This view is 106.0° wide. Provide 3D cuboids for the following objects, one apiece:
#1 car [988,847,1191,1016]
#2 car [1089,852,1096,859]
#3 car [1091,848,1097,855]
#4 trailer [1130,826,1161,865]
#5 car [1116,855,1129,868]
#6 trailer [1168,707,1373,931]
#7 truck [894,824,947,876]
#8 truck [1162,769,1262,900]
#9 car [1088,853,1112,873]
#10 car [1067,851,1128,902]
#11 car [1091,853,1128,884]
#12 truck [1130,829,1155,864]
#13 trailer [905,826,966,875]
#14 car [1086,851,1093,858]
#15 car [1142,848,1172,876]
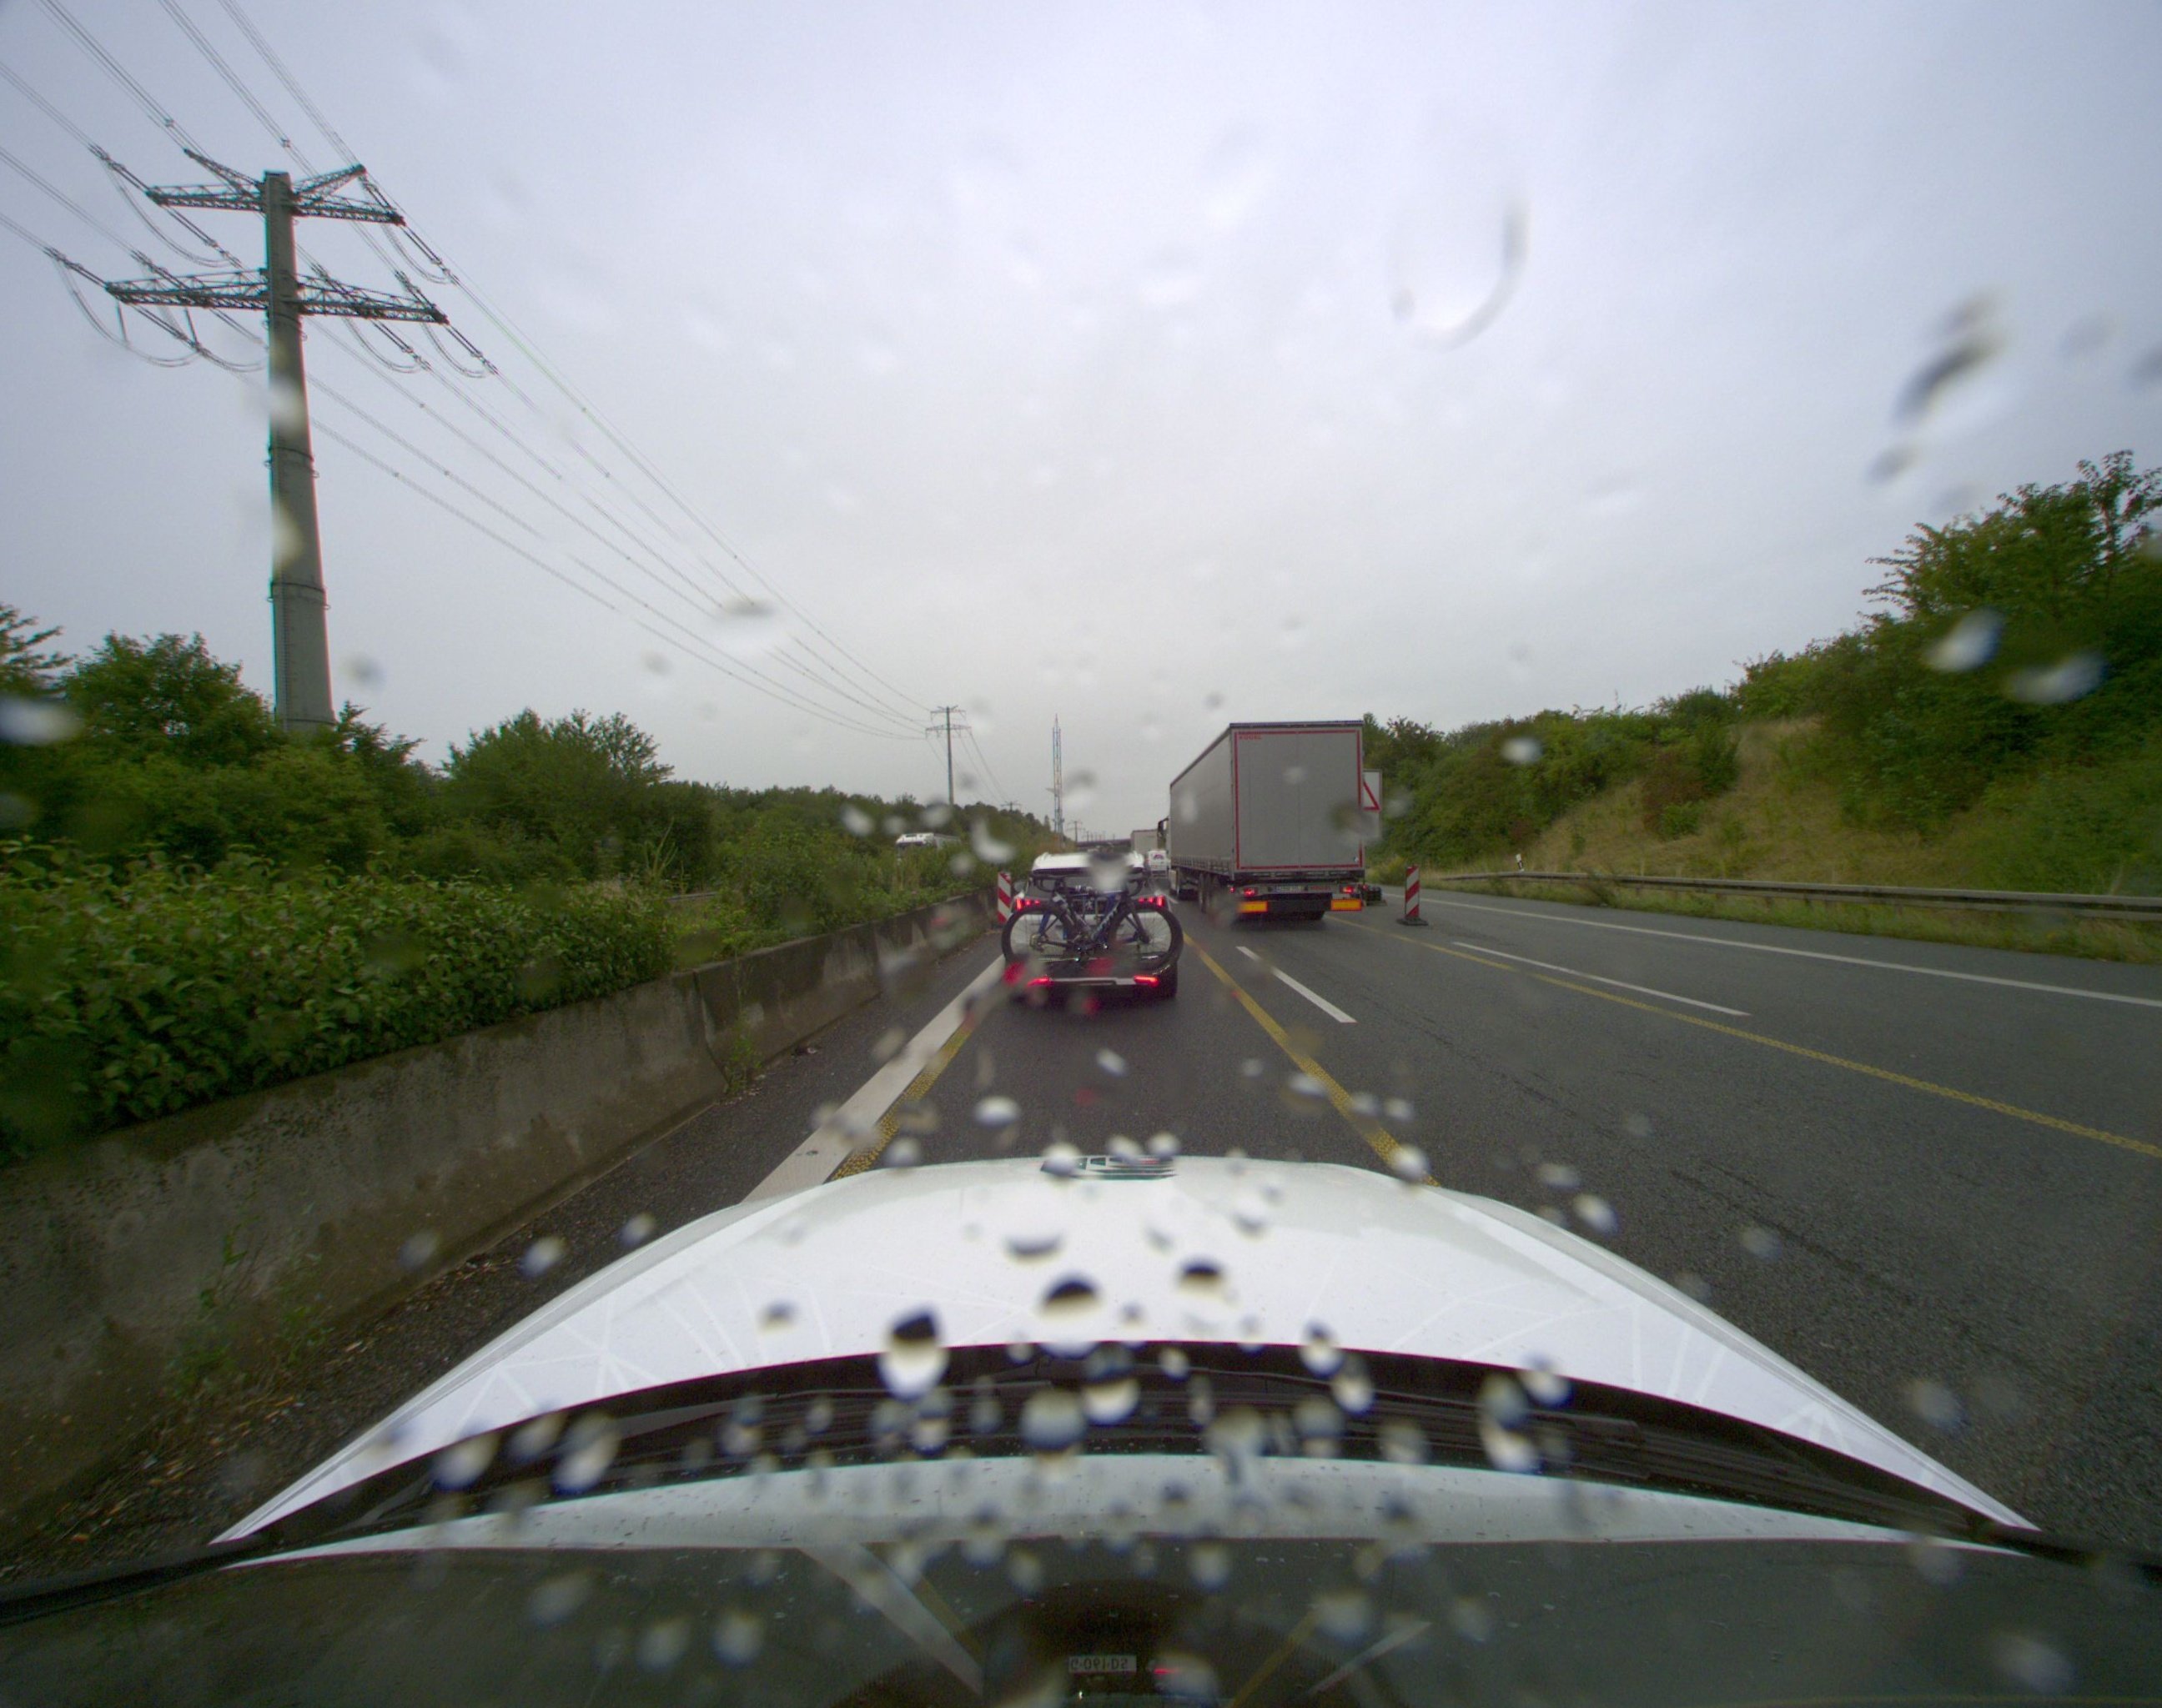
[{"bbox_3d":[0.148,0.717,9.903,1.843,1.531,4.770,-1,0,2],"label":"car"},{"bbox_3d":[3.125,0.390,221.179,1.924,1.973,4.002,-1,1,1],"label":"car"},{"bbox_3d":[4.004,-0.796,251.448,1.924,1.973,4.002,-1,1,1],"label":"car"},{"bbox_3d":[7.164,-0.901,91.663,2.682,4.076,13.638,-1,0,2],"label":"trailer"},{"bbox_3d":[7.122,1.296,141.212,2.102,1.973,4.002,-1,1,1],"label":"car"},{"bbox_3d":[4.299,-0.649,22.174,2.696,4.146,13.737,-1,0,2],"label":"trailer"},{"bbox_3d":[-13.087,-0.302,67.012,2.776,4.024,7.235,-1,0,1],"label":"truck"},{"bbox_3d":[4.496,-0.628,29.035,2.696,4.138,5.692,-1,0,2],"label":"truck"},{"bbox_3d":[1.554,0.693,65.298,1.843,1.531,4.001,-1,0,2],"label":"car"},{"bbox_3d":[0.572,0.682,26.938,1.843,1.531,4.001,-1,0,2],"label":"car"},{"bbox_3d":[1.531,0.743,43.554,1.843,1.531,4.001,-1,0,2],"label":"car"},{"bbox_3d":[7.376,-0.881,98.199,2.650,4.076,6.541,-1,0,2],"label":"truck"},{"bbox_3d":[-12.912,-0.302,73.701,2.776,4.024,13.253,-1,0,1],"label":"trailer"},{"bbox_3d":[2.587,0.249,239.076,1.924,1.910,4.002,-1,1,1],"label":"car"},{"bbox_3d":[5.337,0.550,57.674,1.822,1.839,4.657,-1,0,2],"label":"car"}]
